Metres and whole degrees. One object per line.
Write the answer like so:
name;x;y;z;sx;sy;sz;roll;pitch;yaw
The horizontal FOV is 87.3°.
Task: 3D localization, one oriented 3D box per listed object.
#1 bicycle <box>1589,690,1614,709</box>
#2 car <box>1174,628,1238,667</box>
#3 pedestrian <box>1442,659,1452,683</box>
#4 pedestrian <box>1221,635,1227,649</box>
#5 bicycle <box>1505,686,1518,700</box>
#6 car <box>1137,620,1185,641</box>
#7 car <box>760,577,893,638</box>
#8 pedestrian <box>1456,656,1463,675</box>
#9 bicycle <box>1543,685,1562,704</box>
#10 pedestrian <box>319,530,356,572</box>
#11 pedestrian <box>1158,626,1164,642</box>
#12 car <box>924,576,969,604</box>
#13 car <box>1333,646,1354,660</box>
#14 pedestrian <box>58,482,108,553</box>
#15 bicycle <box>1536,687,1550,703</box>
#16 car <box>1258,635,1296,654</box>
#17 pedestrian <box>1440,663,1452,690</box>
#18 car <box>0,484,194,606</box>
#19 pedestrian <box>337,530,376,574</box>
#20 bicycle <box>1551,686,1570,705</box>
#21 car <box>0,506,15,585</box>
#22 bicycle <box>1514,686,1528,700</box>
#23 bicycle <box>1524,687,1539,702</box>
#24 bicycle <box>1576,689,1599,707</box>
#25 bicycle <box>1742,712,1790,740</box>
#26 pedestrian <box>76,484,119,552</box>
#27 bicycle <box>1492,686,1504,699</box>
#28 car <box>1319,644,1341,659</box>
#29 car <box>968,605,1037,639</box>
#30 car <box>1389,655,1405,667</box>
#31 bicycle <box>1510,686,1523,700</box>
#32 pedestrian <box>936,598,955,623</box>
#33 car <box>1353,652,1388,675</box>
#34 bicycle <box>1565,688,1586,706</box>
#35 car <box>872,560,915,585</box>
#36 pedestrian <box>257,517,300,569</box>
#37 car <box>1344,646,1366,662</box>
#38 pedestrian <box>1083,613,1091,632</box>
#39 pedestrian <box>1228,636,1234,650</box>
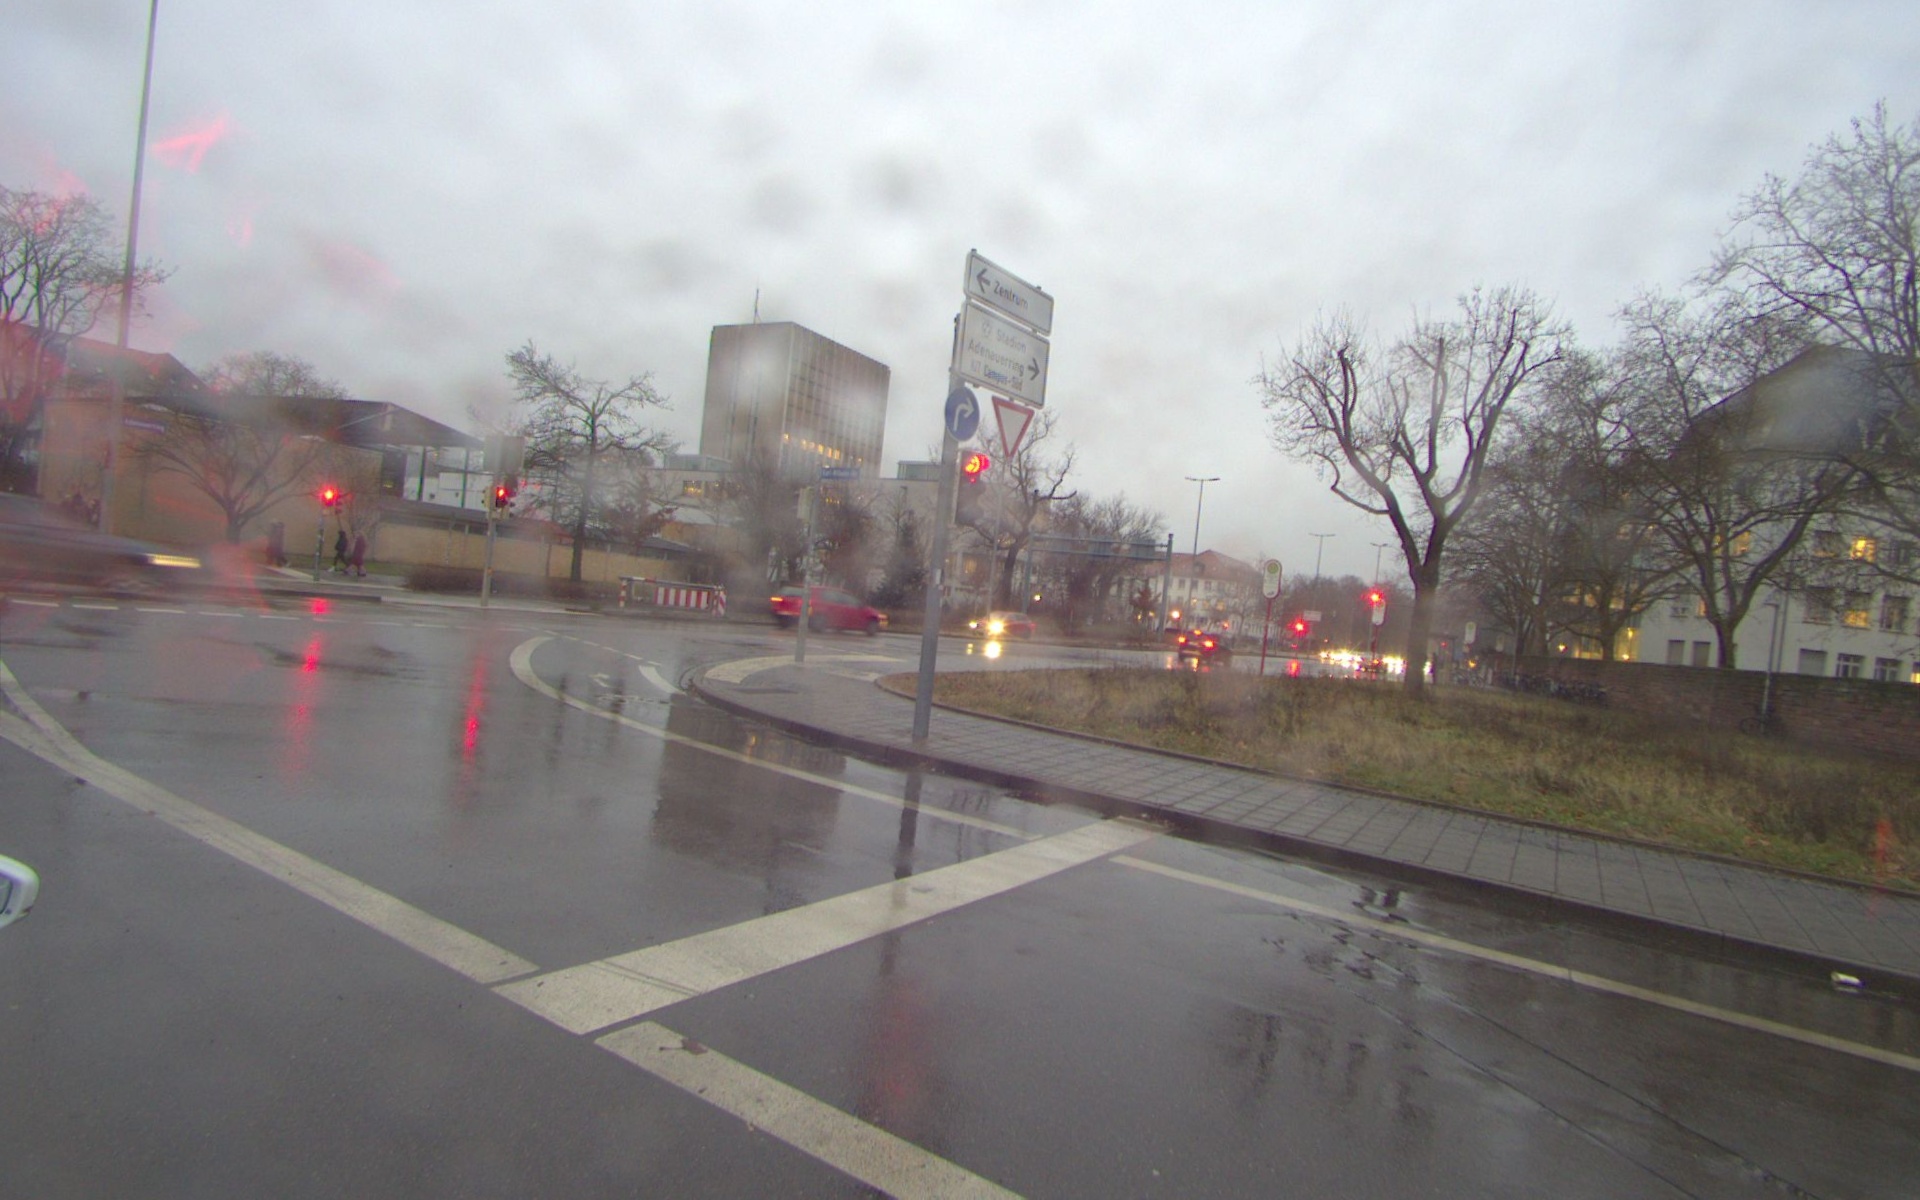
bicycle;30.279;4.673;47.470;0.352;0.795;1.415;7;-2;8
car;12.941;2.501;52.663;1.811;1.710;4.313;6;-1;33
pedestrian;42.978;6.293;88.757;0.557;2.040;0.595;8;2;33
pedestrian;32.975;5.249;125.661;0.404;1.713;0.561;7;2;28
bicycle;34.855;5.866;63.620;0.387;0.795;1.532;7;-2;20
car;24.113;3.631;120.775;5.254;1.903;2.041;6;0;35
car;-4.274;0.287;32.770;1.814;1.602;4.120;6;0;38
pedestrian;49.345;6.466;99.351;0.313;1.816;0.461;7;2;32
bicycle;31.846;5.075;54.081;0.387;0.927;1.532;7;-2;15
pedestrian;-24.644;-1.937;39.842;0.872;1.553;0.893;8;2;35
pedestrian;21.696;3.698;108.781;0.409;1.725;0.432;7;2;7
car;-1.364;-0.993;103.198;2.014;2.452;5.326;6;0;30
car;53.433;7.390;140.169;1.966;1.783;3.992;7;1;29
pedestrian;-28.555;-2.682;32.764;0.871;2.141;0.893;7;2;32
bicycle;32.417;5.290;55.947;0.387;0.795;1.607;7;-2;22
car;38.339;5.350;121.669;3.923;1.784;2.000;7;1;9
pedestrian;30.157;4.733;62.412;0.462;1.623;0.486;7;-1;25
car;-14.409;-0.917;15.273;1.816;1.602;4.114;6;0;43
pedestrian;-23.667;-1.879;39.434;1.027;1.553;0.923;8;2;39
bicycle;31.361;4.980;52.550;0.387;0.868;1.532;7;-2;15
car;-17.913;-1.098;16.187;1.677;1.318;3.749;6;0;40
bicycle;33.834;5.614;60.657;0.387;0.795;1.532;7;-2;20
bicycle;32.845;5.404;57.860;0.387;0.795;1.532;7;-2;19
bicycle;30.553;4.769;48.994;0.387;0.795;1.533;7;-2;14
bicycle;28.207;4.400;35.219;0.387;0.834;1.386;7;-2;-4
pedestrian;-28.951;-2.743;33.763;0.874;2.141;0.890;8;2;44
bicycle;36.395;6.246;68.101;0.387;0.795;1.532;7;-2;20
car;49.292;6.859;134.141;1.966;1.783;3.992;7;1;29
car;2.288;1.185;52.975;1.780;1.496;4.420;6;0;28
car;73.041;10.223;168.207;1.965;1.783;3.993;7;1;27
bicycle;34.354;5.741;62.146;0.387;0.795;1.532;7;-2;20
pedestrian;-1.068;0.748;72.319;0.783;1.624;0.960;8;2;39
car;34.306;5.290;84.062;1.811;1.710;4.311;6;0;32
bicycle;31.043;4.876;50.738;0.343;0.848;1.493;7;-2;13
car;-7.048;-2.911;106.537;2.014;2.102;4.892;6;0;30
pedestrian;-25.738;-2.151;38.017;0.905;1.823;0.995;8;2;37
car;51.650;7.067;131.485;1.966;1.783;3.992;7;1;29
pedestrian;11.551;2.052;91.553;0.411;1.725;0.430;8;3;44
pedestrian;33.855;5.367;125.591;0.404;1.713;0.427;7;2;28
